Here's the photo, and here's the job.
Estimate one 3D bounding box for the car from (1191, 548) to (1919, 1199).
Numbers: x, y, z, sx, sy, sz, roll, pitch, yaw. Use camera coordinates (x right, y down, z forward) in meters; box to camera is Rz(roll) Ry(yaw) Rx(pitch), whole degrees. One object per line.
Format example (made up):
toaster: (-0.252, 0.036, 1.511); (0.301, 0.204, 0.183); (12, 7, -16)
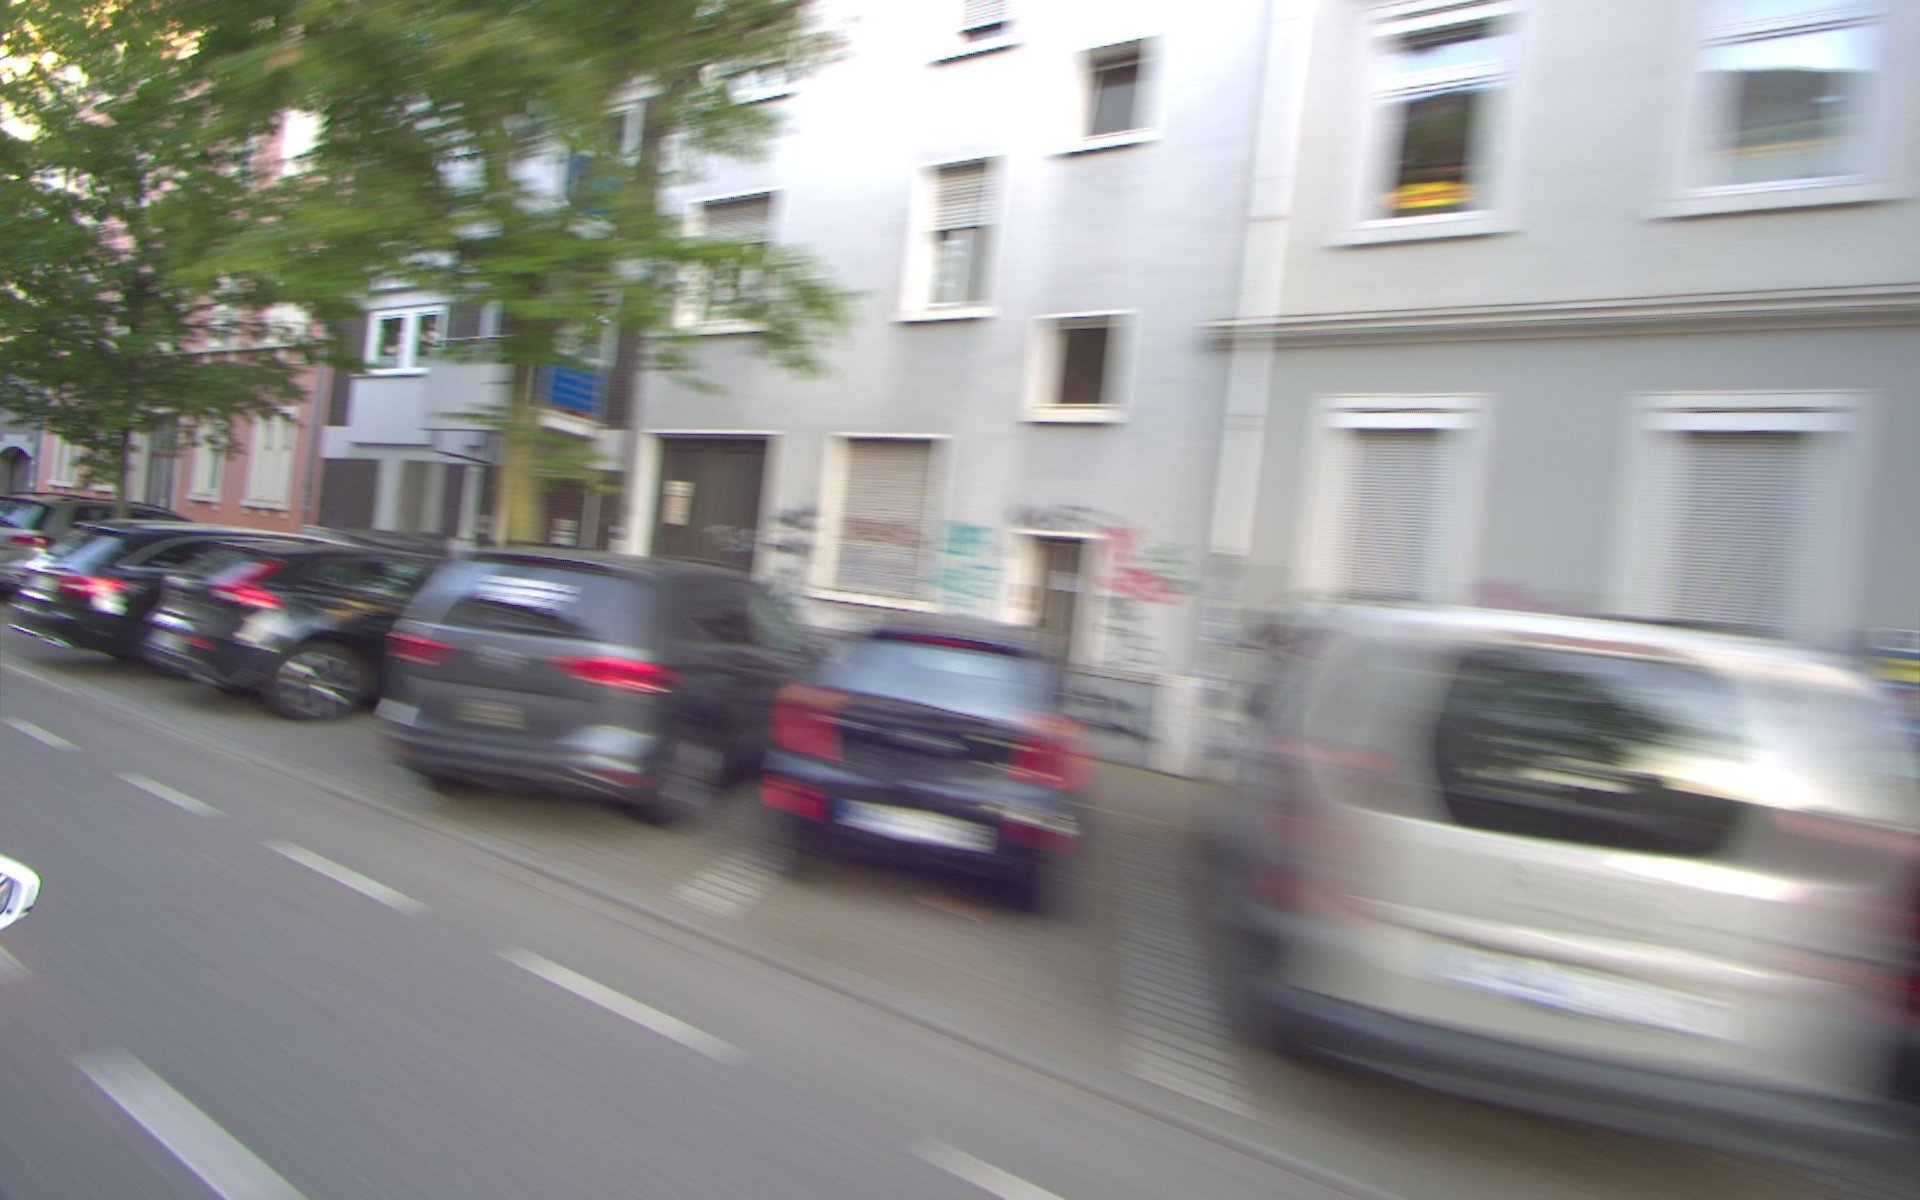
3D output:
car: (2.236, 0.893, 4.892); (1.789, 1.839, 4.000); (7, 1, 10)

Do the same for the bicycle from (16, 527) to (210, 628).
bicycle: (-11.331, -0.271, 13.534); (0.718, 1.158, 1.800); (7, 0, 24)

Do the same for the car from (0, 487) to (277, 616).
car: (-12.884, -0.687, 15.299); (1.687, 1.613, 4.001); (8, 0, 11)

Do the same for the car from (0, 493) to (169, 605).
car: (-14.976, -0.862, 15.581); (1.687, 1.573, 3.975); (8, 0, 14)

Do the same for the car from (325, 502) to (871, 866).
car: (-2.168, 0.468, 7.452); (1.811, 1.717, 4.193); (7, 0, 10)

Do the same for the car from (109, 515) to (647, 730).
car: (-5.167, 0.253, 9.505); (1.691, 1.482, 3.991); (7, 0, 31)

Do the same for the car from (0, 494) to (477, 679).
car: (-7.536, -0.072, 10.376); (1.690, 1.482, 4.385); (7, 0, 27)

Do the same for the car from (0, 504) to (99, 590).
car: (-17.445, -1.056, 17.070); (1.590, 1.404, 4.266); (7, -1, 6)

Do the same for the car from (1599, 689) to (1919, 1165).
car: (4.412, 1.338, 3.938); (1.687, 1.585, 4.003); (7, -1, 10)

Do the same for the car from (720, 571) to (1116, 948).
car: (0.071, 0.806, 6.836); (1.687, 1.586, 4.002); (7, 0, 10)
